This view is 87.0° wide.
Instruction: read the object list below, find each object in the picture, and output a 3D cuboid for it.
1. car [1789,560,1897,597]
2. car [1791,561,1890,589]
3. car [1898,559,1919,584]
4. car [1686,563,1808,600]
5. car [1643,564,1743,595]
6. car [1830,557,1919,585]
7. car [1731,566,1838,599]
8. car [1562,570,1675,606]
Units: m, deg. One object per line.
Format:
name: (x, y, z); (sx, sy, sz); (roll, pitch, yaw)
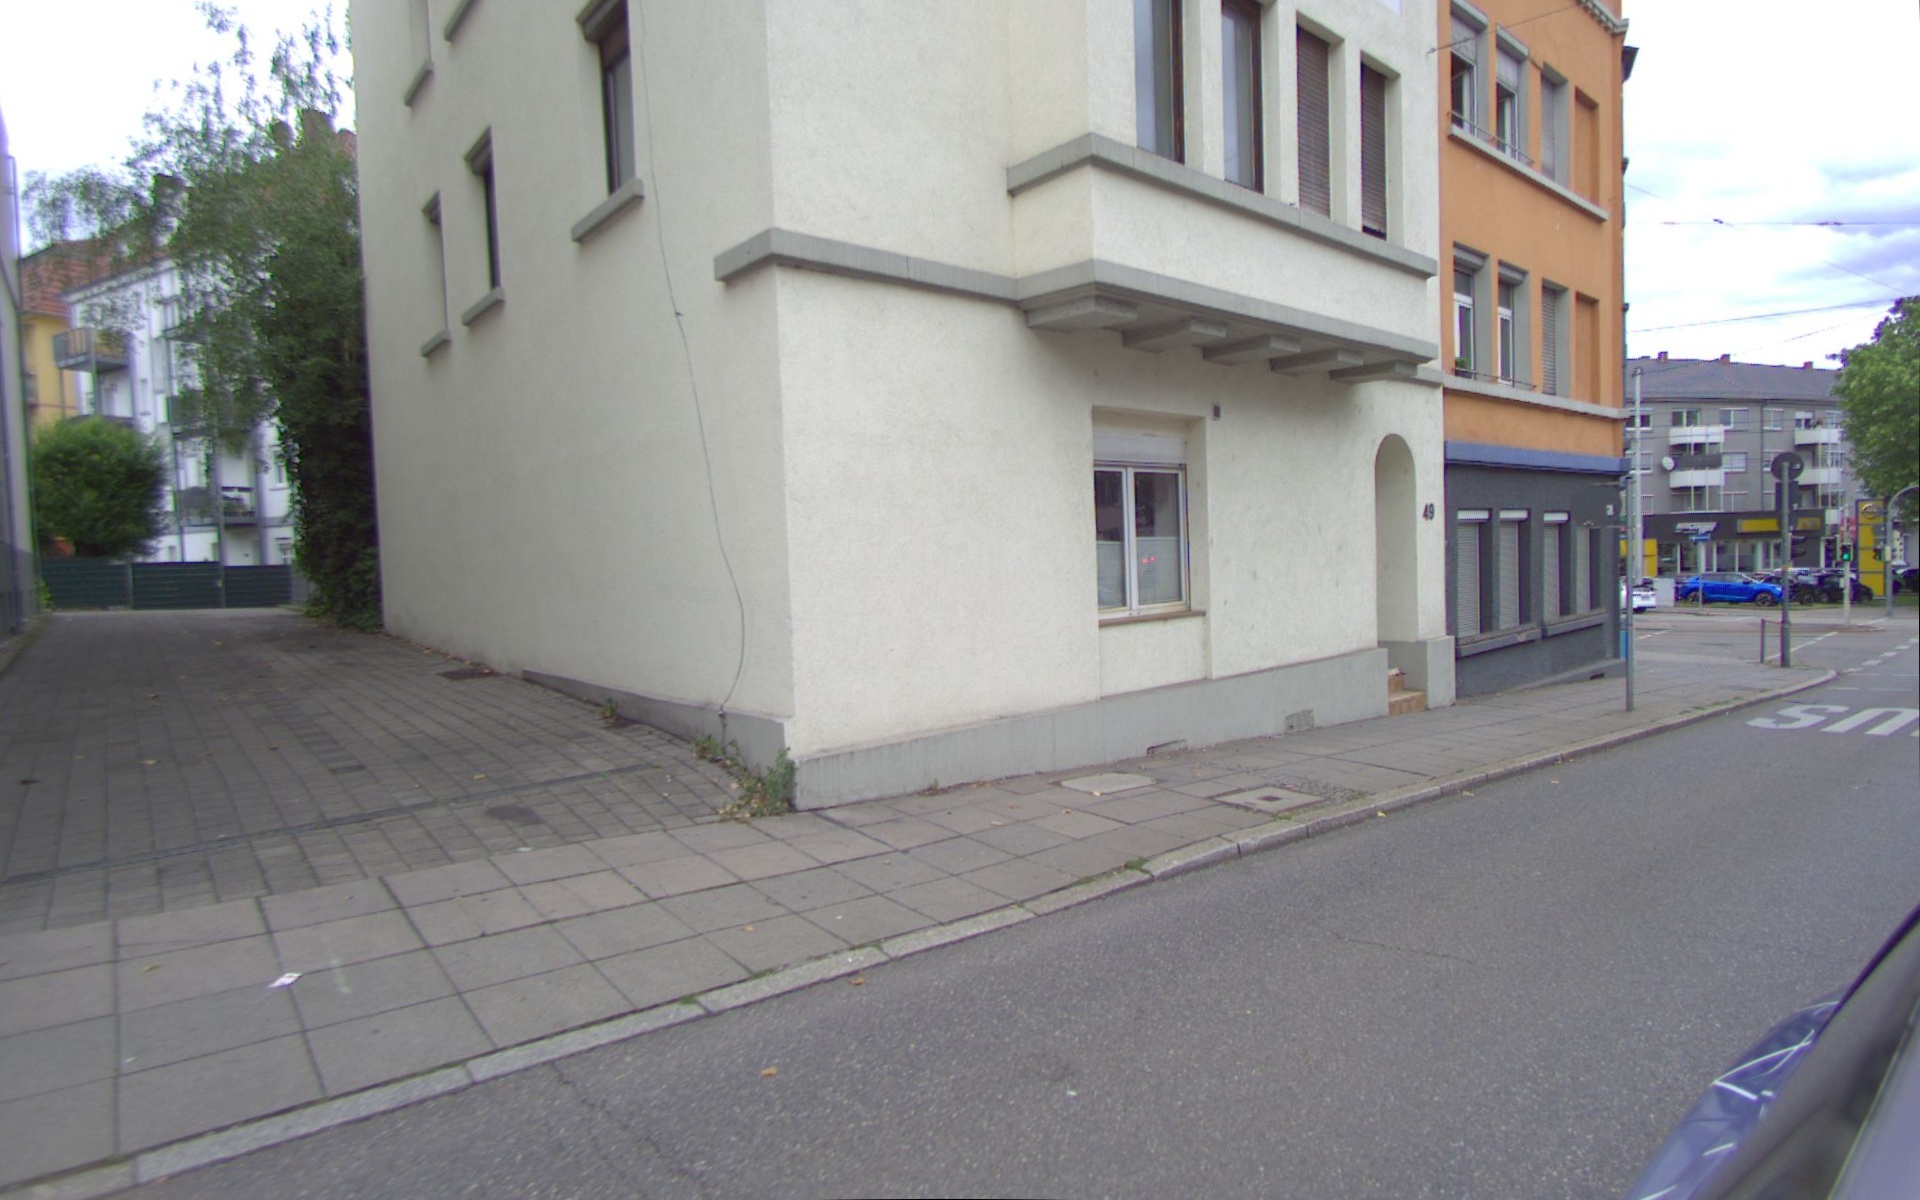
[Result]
car: (46.259, -1.128, 53.064); (4.084, 1.625, 1.835); (1, 7, -7)
car: (51.016, -1.497, 58.701); (1.827, 1.569, 4.003); (-1, 3, -33)
car: (61.172, -1.765, 62.745); (3.940, 1.523, 1.856); (0, 2, 13)
car: (37.509, -0.909, 48.307); (1.796, 1.596, 4.257); (0, 3, -39)
car: (39.923, -1.156, 55.199); (1.826, 1.569, 4.006); (-1, 2, -29)
car: (53.668, -1.708, 59.427); (3.569, 1.572, 1.610); (1, 2, 23)
car: (41.190, -0.898, 50.598); (3.919, 1.495, 1.833); (1, 2, -7)
car: (31.168, -0.602, 48.030); (1.878, 1.553, 4.152); (0, 3, -20)
